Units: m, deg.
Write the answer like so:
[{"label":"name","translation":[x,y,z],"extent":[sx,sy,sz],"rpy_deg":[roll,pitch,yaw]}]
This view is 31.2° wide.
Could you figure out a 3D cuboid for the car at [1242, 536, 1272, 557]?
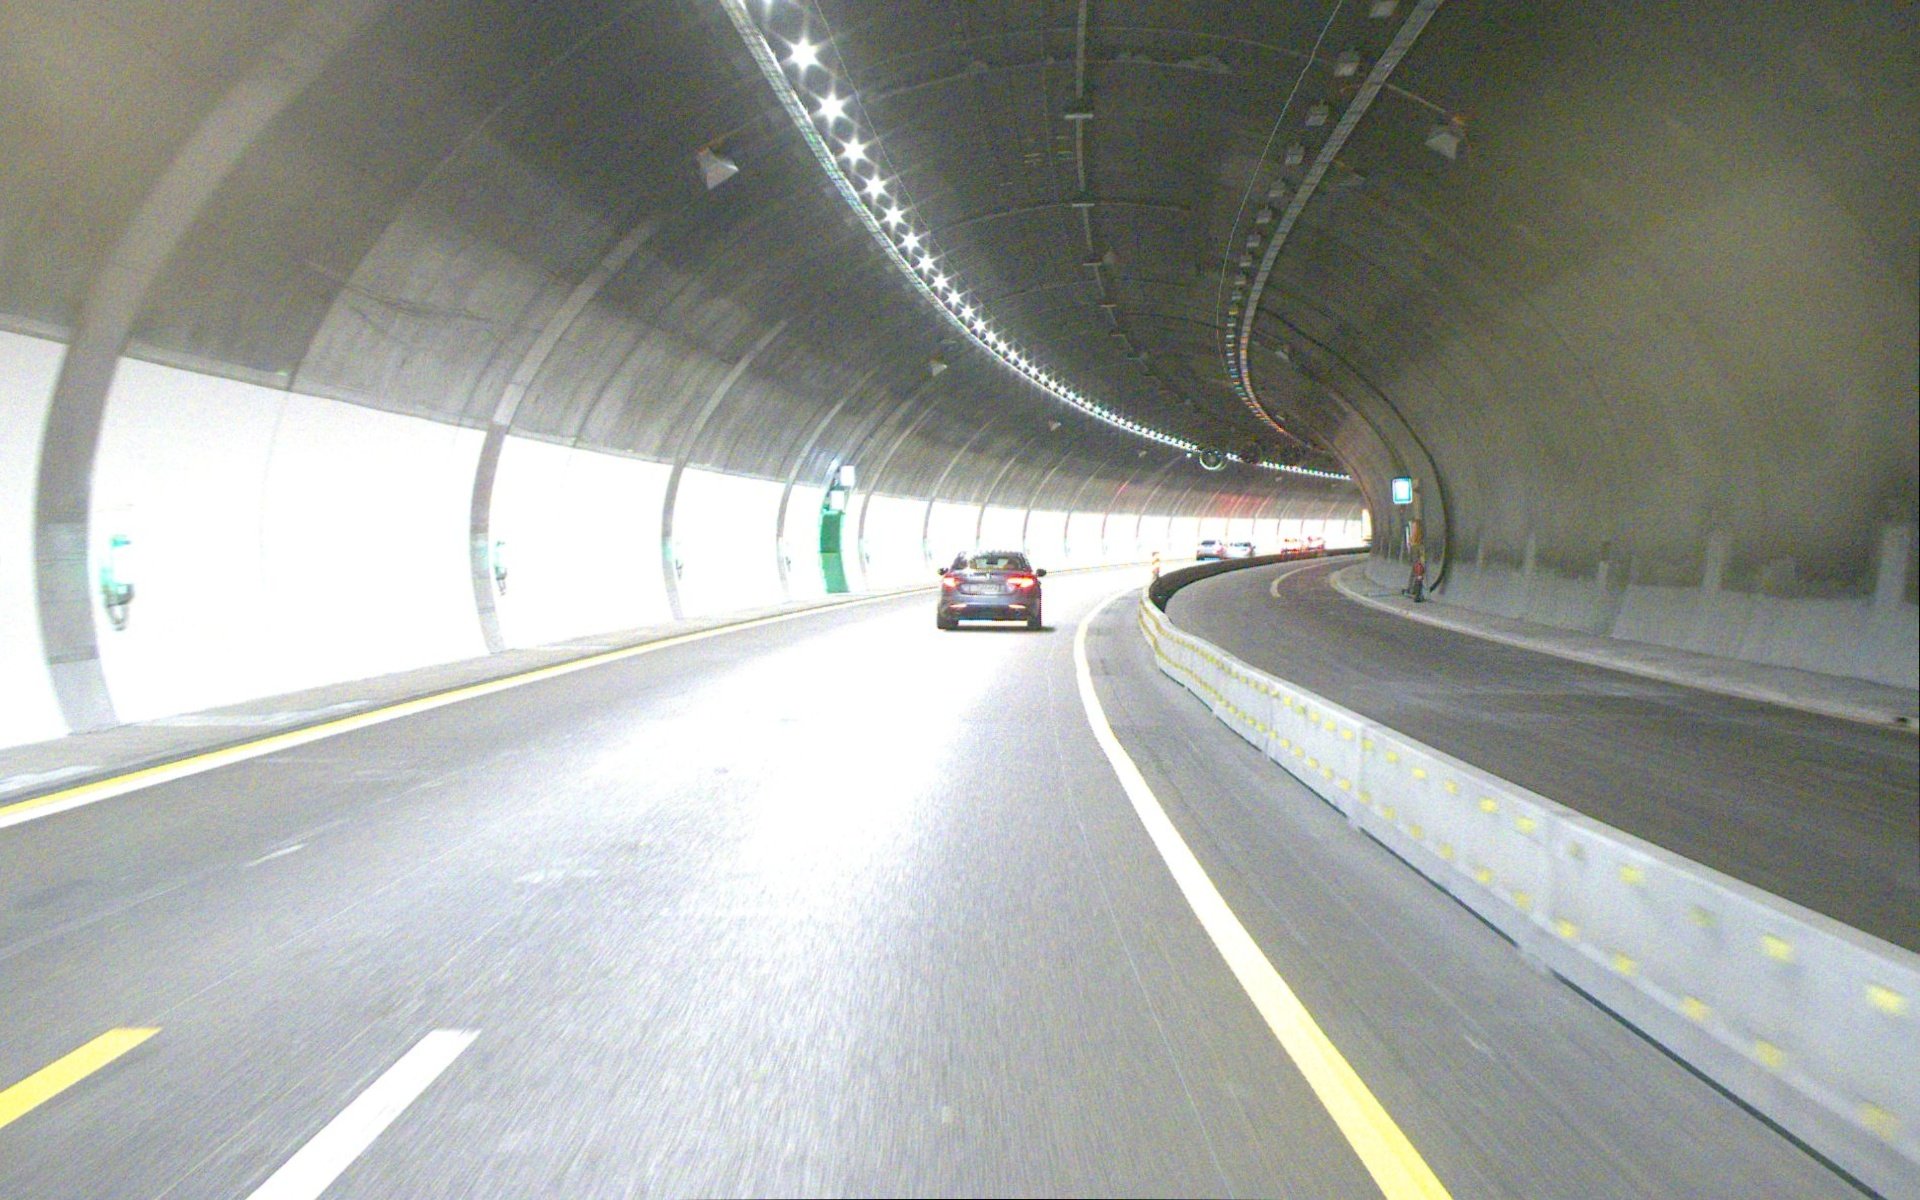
[{"label":"car","translation":[19.617,-3.539,227.311],"extent":[1.596,1.328,3.749],"rpy_deg":[1,1,11]}]

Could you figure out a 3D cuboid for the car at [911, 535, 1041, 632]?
[{"label":"car","translation":[0.329,-0.331,62.630],"extent":[2.141,1.700,4.000],"rpy_deg":[0,1,3]}]

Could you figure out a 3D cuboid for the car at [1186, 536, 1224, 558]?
[{"label":"car","translation":[17.222,-3.743,241.823],"extent":[2.166,1.481,3.998],"rpy_deg":[0,1,11]}]
